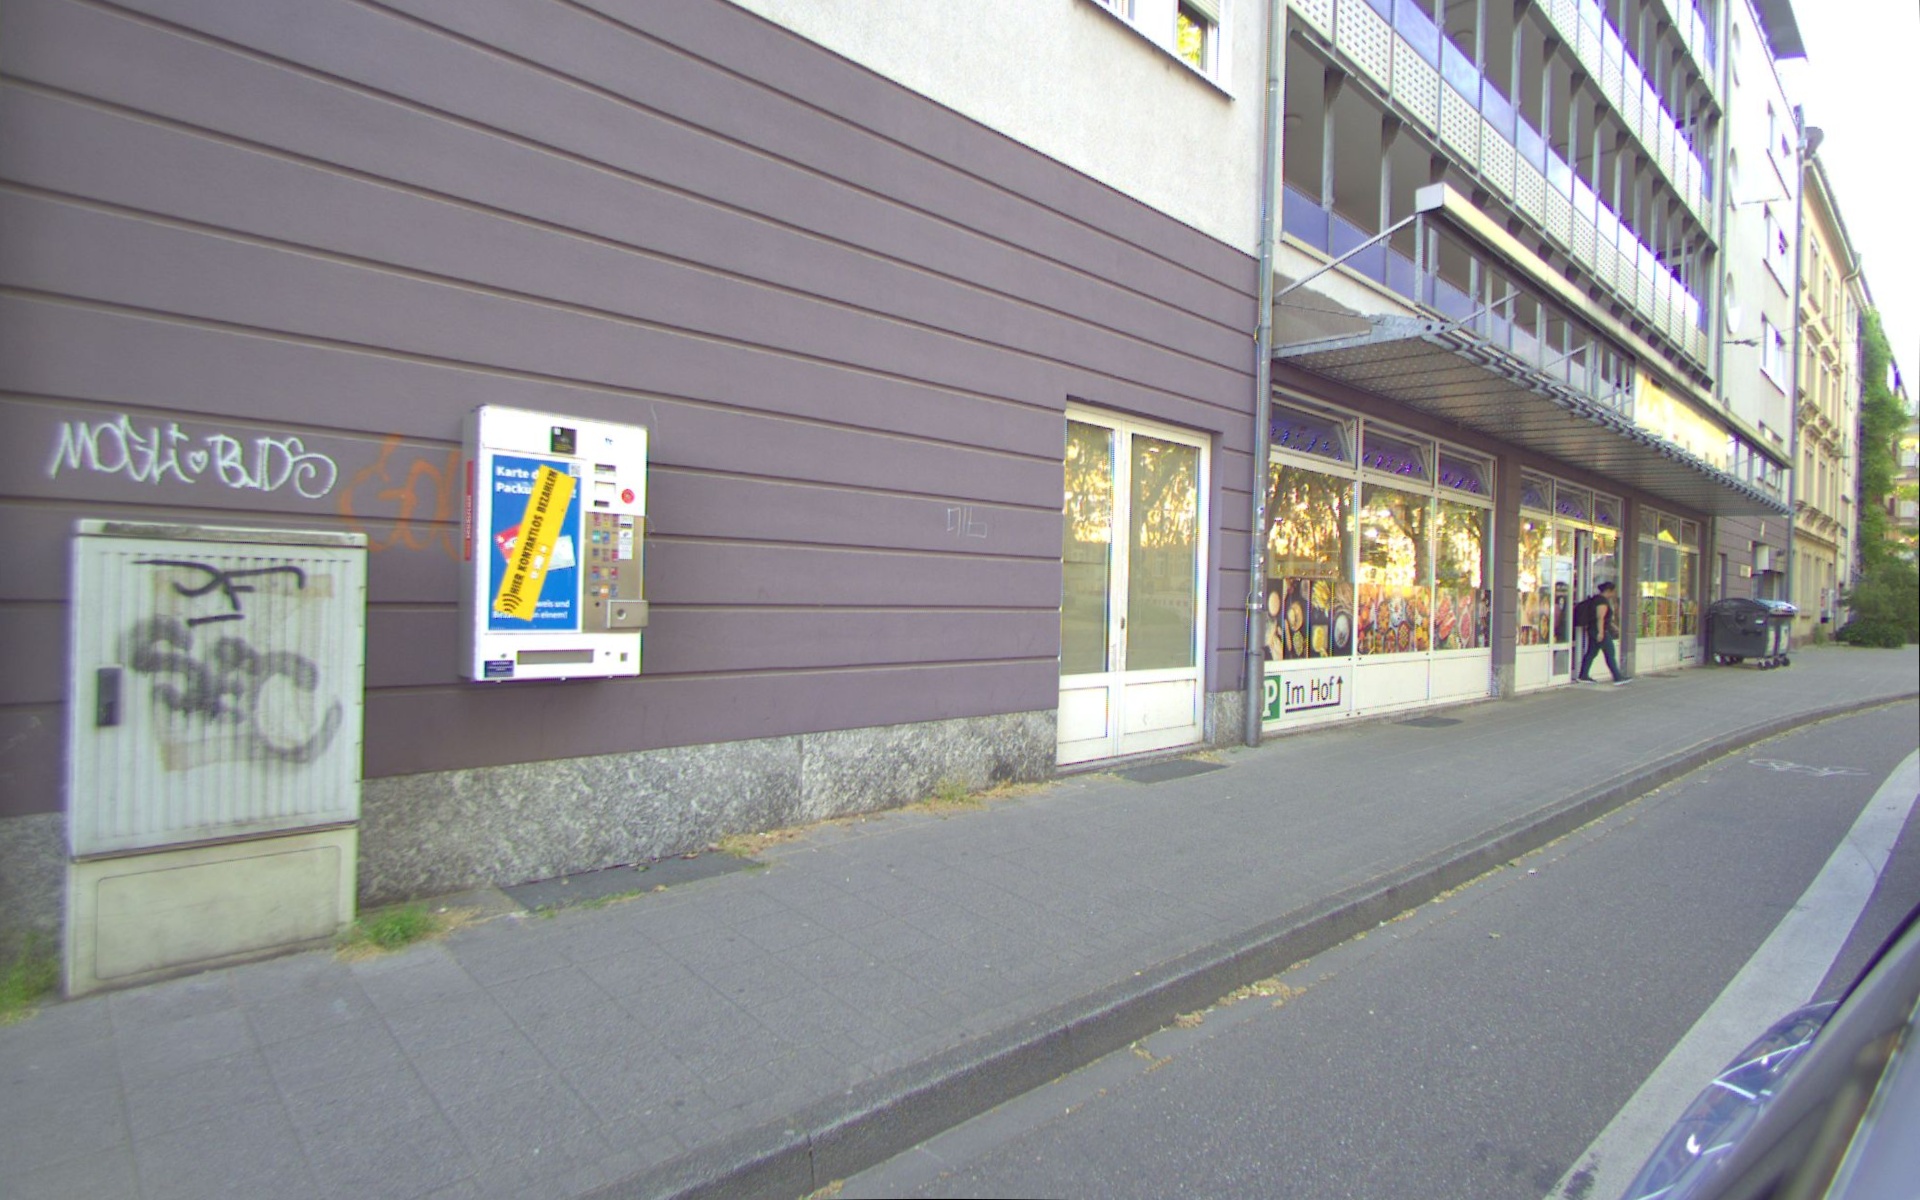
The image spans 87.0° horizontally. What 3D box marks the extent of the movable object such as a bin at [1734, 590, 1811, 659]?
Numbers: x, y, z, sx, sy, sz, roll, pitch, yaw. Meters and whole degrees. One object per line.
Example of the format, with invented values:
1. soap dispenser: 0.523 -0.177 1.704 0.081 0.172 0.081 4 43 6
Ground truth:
1. movable object such as a bin: 17.776 0.514 22.145 0.923 1.444 1.158 1 1 -40

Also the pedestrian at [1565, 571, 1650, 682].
1. pedestrian: 9.730 0.381 15.224 0.610 1.612 0.866 1 0 -12

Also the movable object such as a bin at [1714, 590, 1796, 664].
1. movable object such as a bin: 16.312 0.539 20.776 0.923 1.444 1.158 1 1 -40
